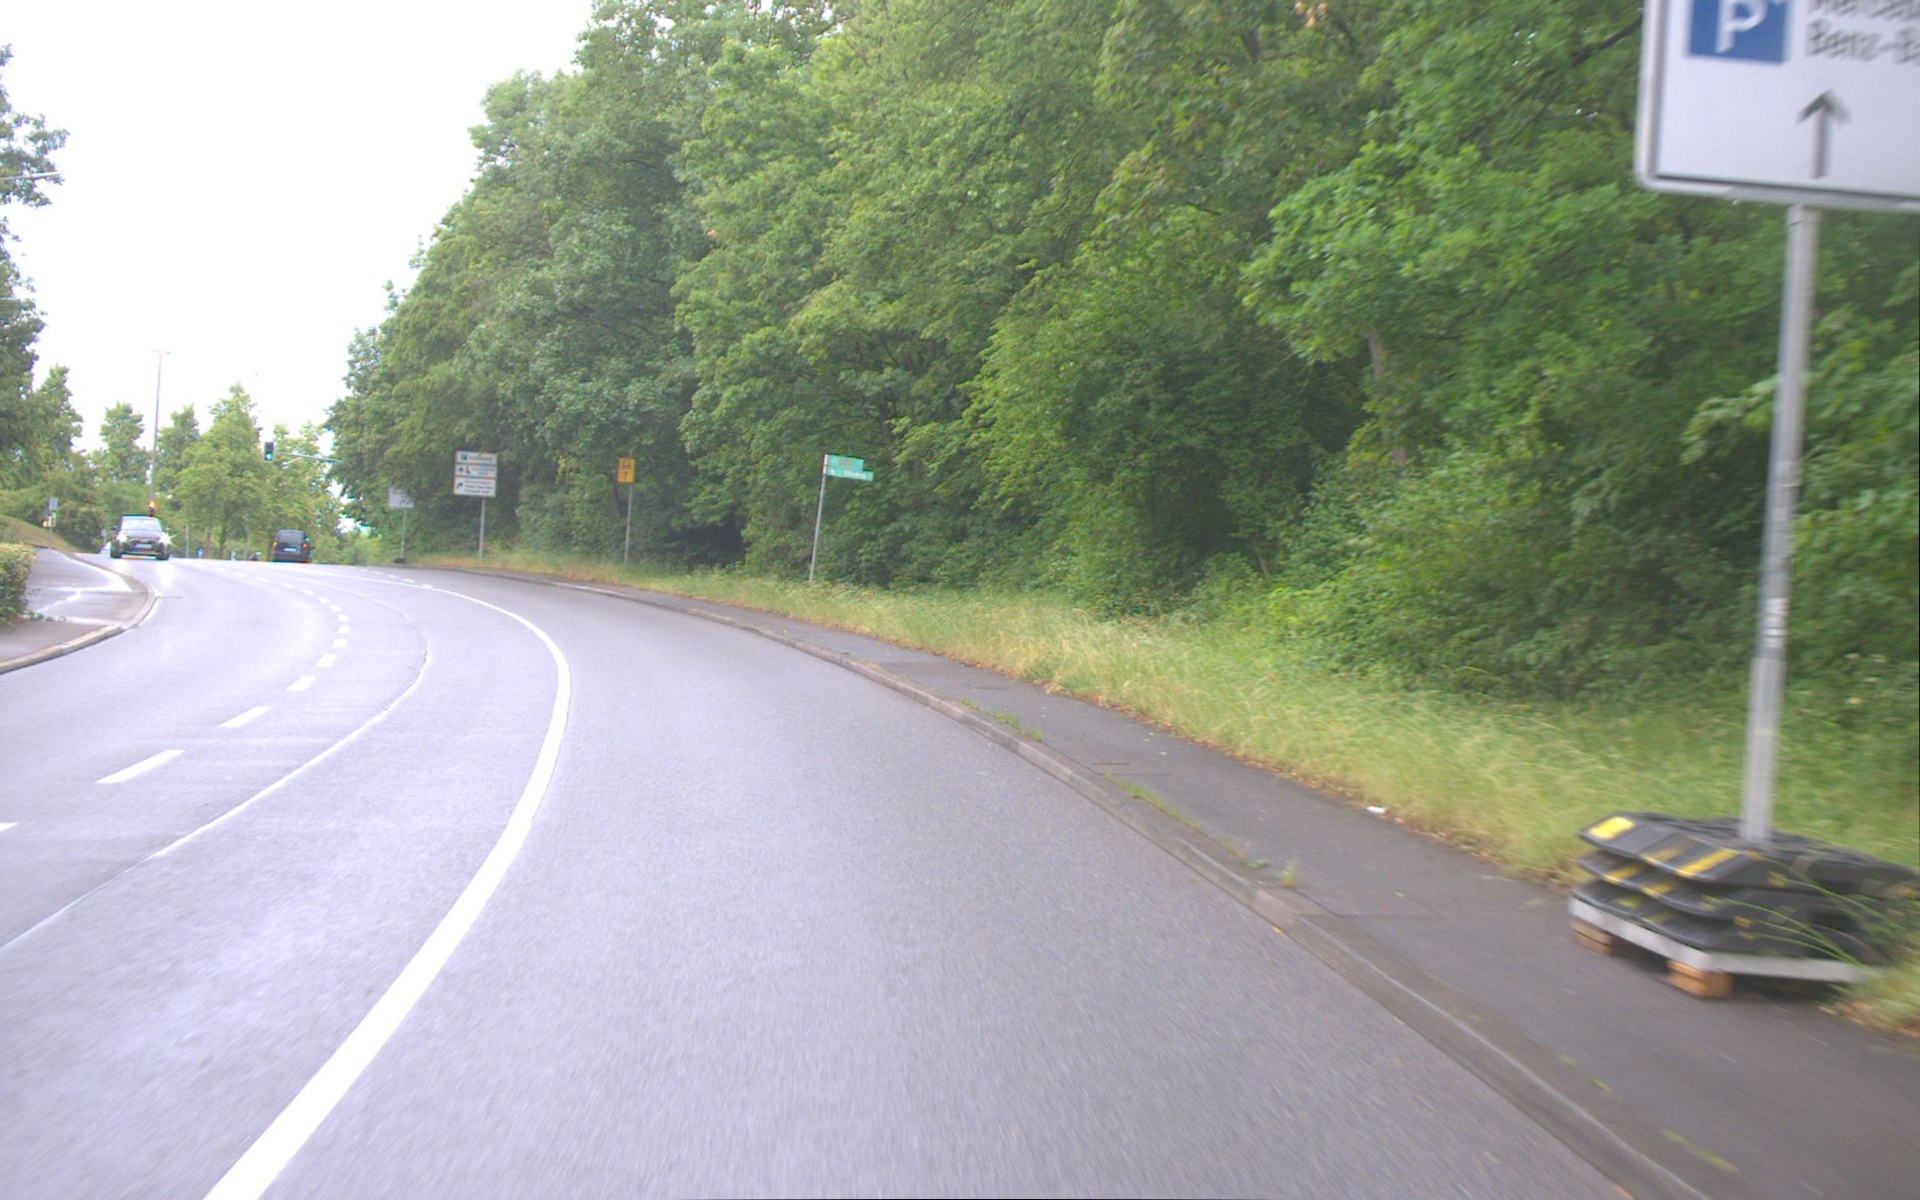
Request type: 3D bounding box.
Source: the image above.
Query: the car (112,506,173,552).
[{"bbox_3d":[-27.707,-2.417,116.472,1.934,1.493,4.319,1,1,-13],"label":"car"}]

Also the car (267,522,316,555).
[{"bbox_3d":[-32.443,-2.993,166.975,1.934,1.493,4.319,2,1,-6],"label":"car"}]
